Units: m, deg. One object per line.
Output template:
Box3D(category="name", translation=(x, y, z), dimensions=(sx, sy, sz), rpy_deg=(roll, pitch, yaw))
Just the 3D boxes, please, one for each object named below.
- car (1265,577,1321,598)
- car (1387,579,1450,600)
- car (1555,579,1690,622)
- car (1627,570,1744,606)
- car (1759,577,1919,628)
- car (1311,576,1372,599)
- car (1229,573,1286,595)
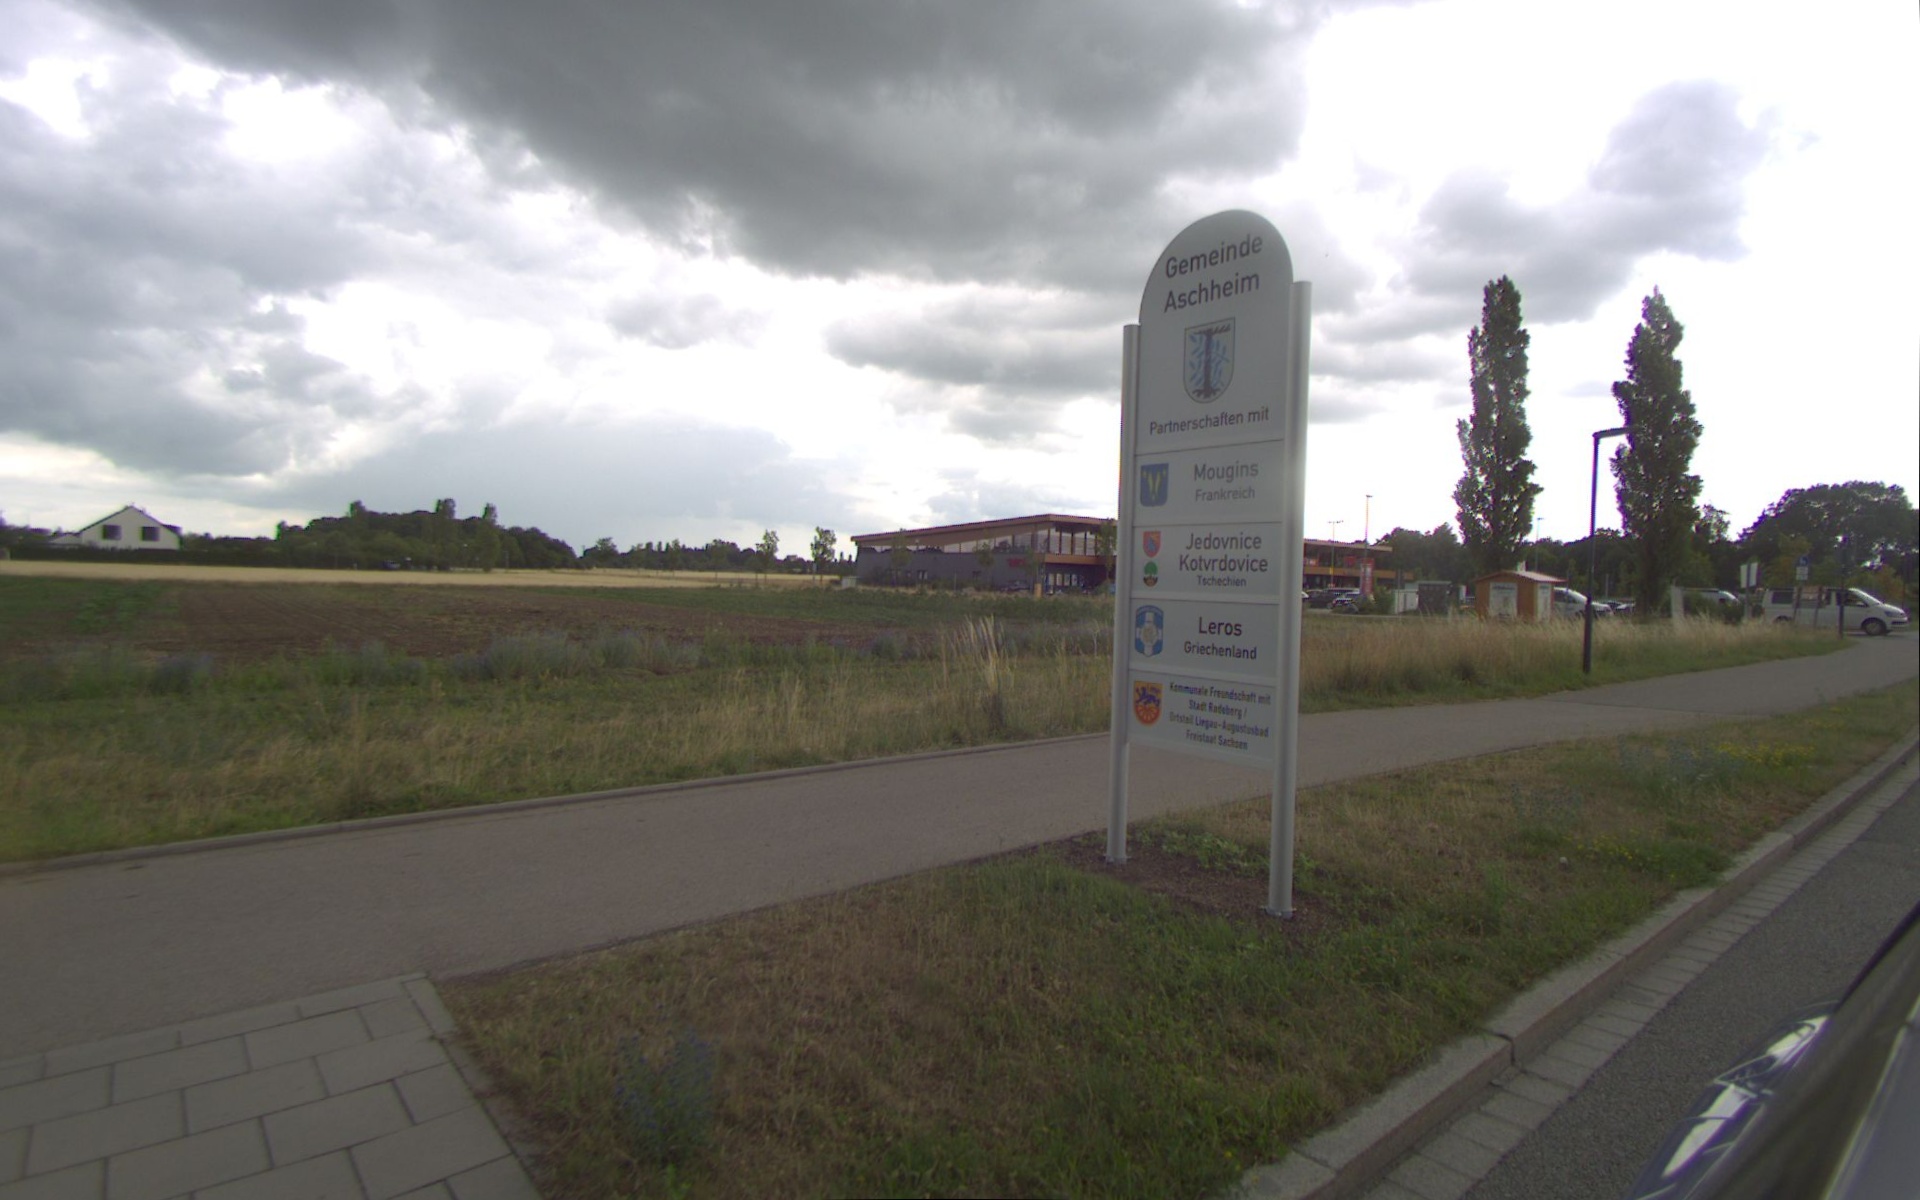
Box3D(category="car", translation=(32.781, -1.229, 99.722), dimensions=(4.840, 2.039, 1.970), rpy_deg=(0, 1, 43))
Box3D(category="car", translation=(46.309, -1.095, 102.265), dimensions=(5.510, 2.039, 1.969), rpy_deg=(0, 1, 44))
Box3D(category="car", translation=(32.920, -0.007, 50.429), dimensions=(1.964, 2.039, 5.312), rpy_deg=(-1, 1, -39))
Box3D(category="car", translation=(43.616, -0.707, 60.907), dimensions=(5.510, 2.039, 1.969), rpy_deg=(0, 1, 44))
Box3D(category="car", translation=(37.902, 0.064, 43.413), dimensions=(2.516, 2.039, 5.312), rpy_deg=(-1, 1, -39))
Box3D(category="car", translation=(34.878, -1.148, 92.634), dimensions=(4.840, 2.039, 1.970), rpy_deg=(0, 1, 43))
Box3D(category="car", translation=(28.038, -1.487, 95.448), dimensions=(4.840, 2.039, 1.970), rpy_deg=(0, 1, 43))
